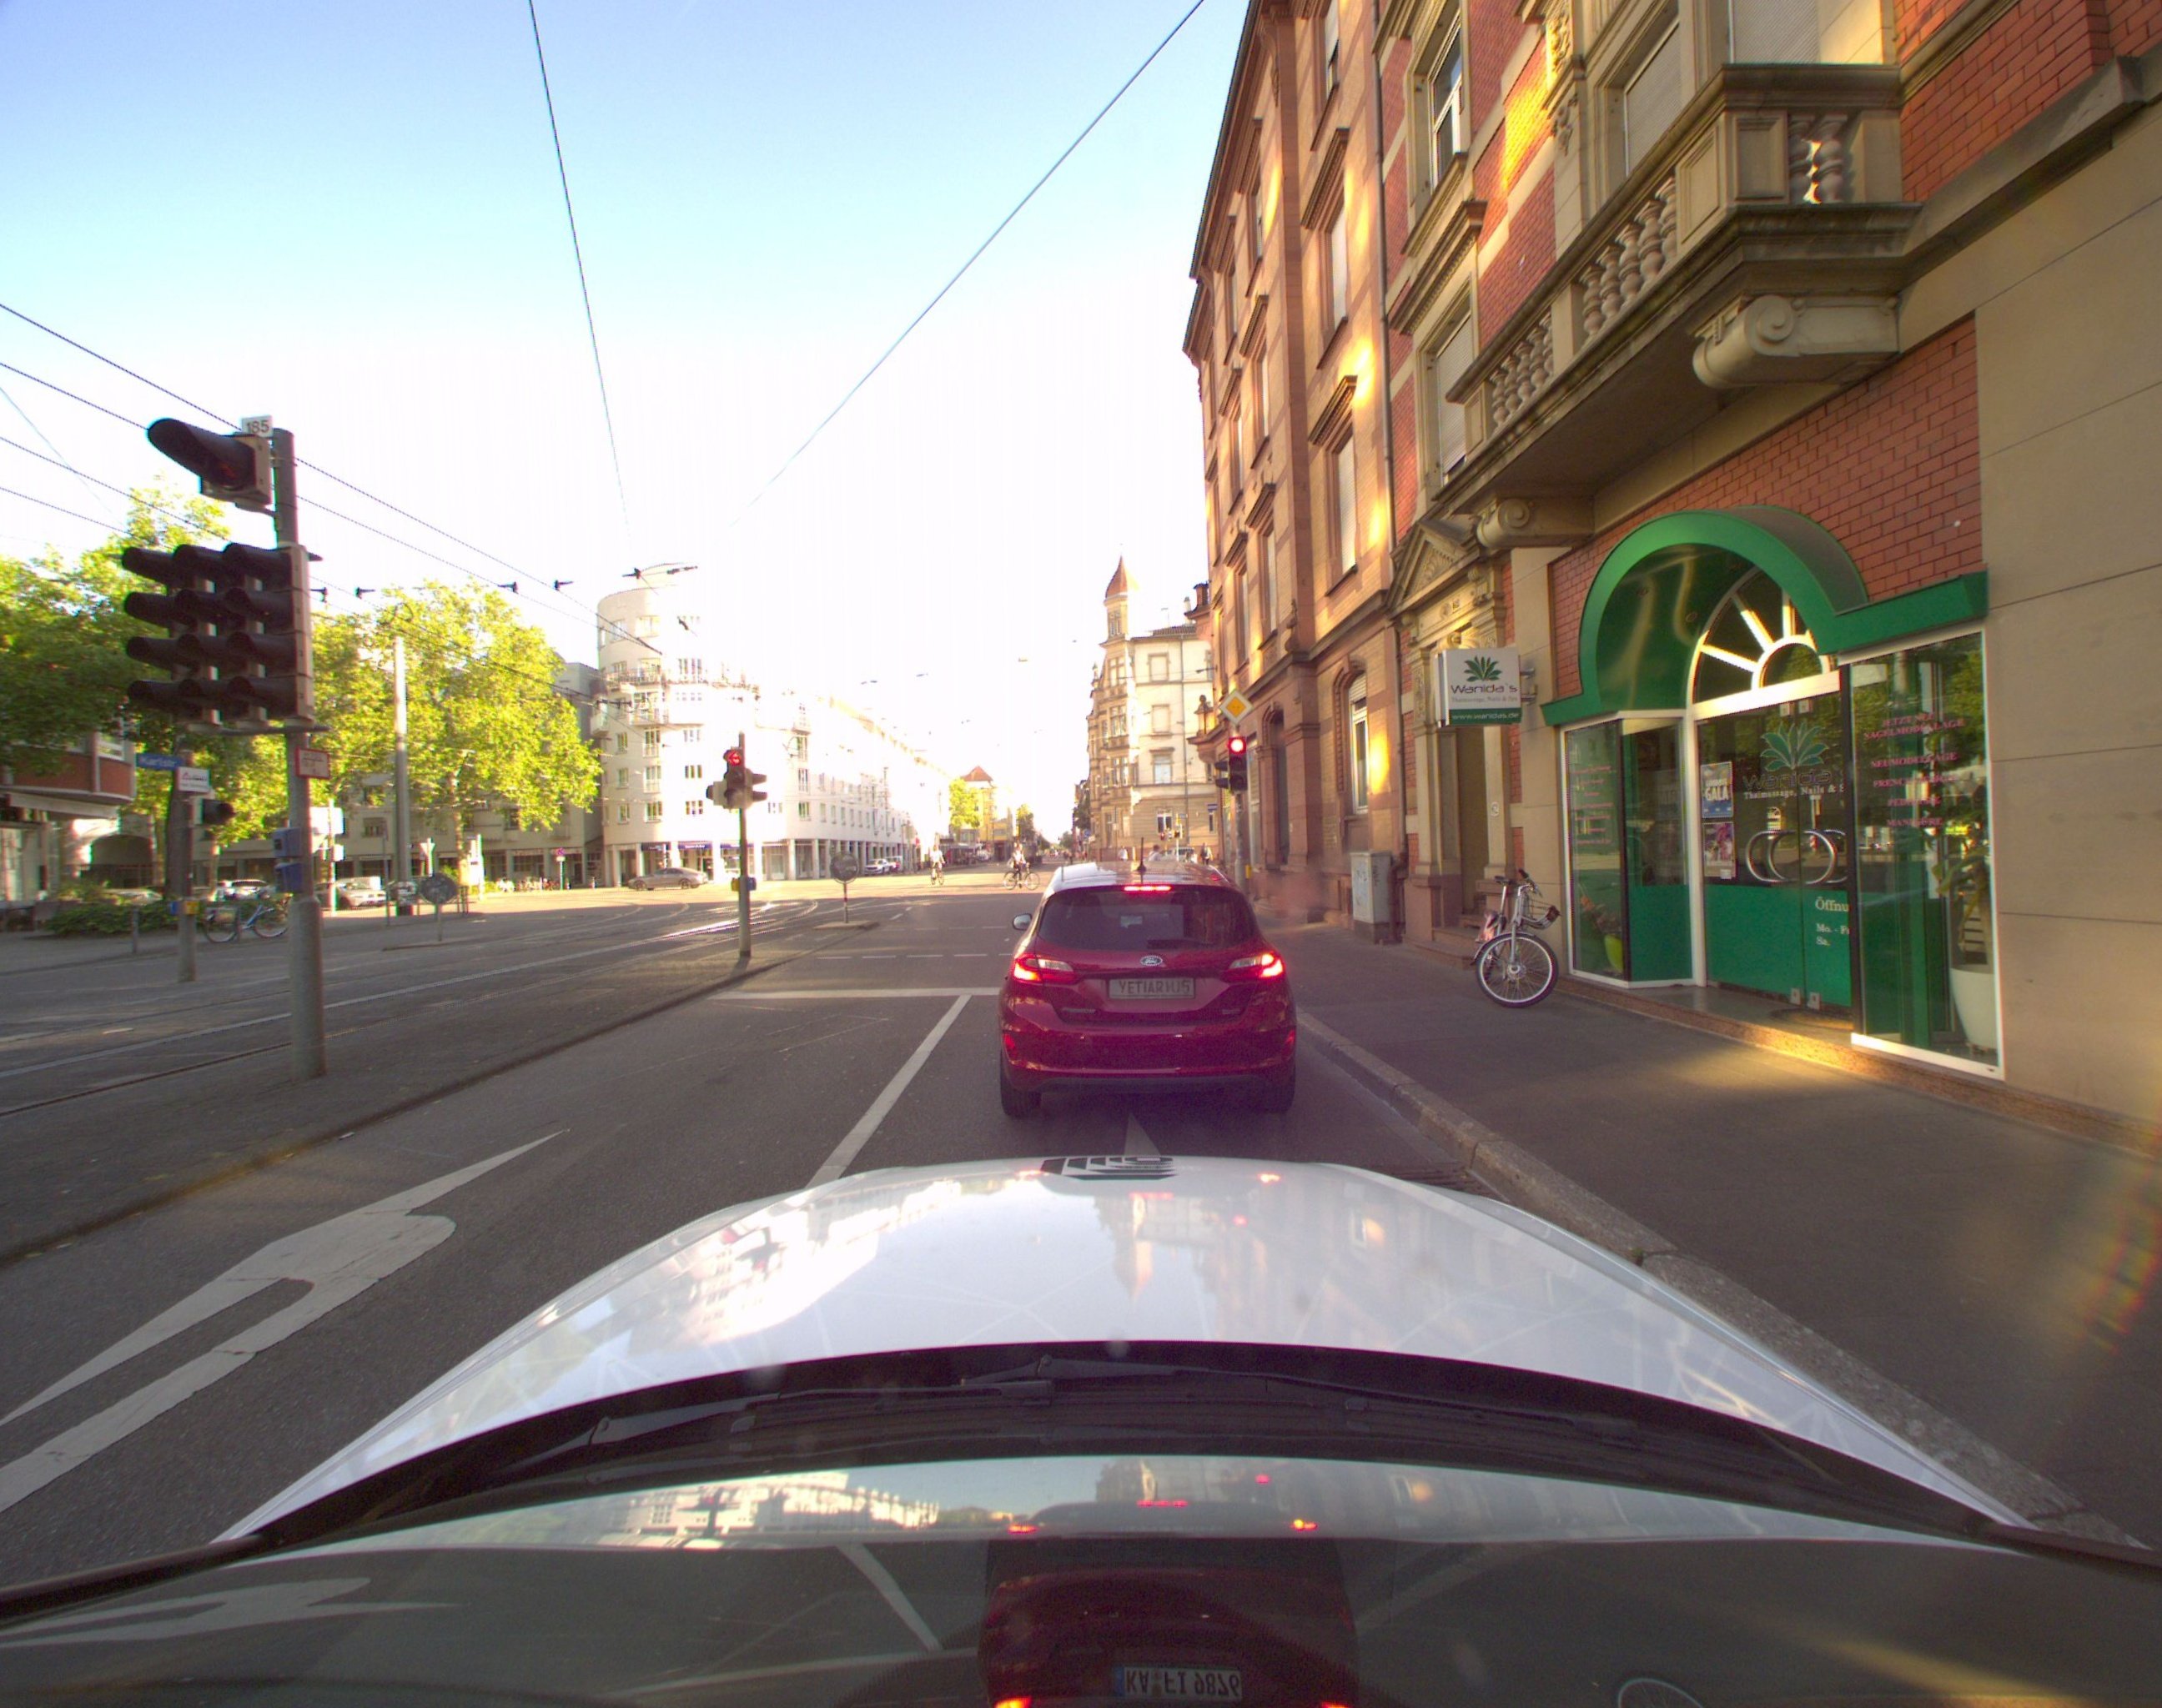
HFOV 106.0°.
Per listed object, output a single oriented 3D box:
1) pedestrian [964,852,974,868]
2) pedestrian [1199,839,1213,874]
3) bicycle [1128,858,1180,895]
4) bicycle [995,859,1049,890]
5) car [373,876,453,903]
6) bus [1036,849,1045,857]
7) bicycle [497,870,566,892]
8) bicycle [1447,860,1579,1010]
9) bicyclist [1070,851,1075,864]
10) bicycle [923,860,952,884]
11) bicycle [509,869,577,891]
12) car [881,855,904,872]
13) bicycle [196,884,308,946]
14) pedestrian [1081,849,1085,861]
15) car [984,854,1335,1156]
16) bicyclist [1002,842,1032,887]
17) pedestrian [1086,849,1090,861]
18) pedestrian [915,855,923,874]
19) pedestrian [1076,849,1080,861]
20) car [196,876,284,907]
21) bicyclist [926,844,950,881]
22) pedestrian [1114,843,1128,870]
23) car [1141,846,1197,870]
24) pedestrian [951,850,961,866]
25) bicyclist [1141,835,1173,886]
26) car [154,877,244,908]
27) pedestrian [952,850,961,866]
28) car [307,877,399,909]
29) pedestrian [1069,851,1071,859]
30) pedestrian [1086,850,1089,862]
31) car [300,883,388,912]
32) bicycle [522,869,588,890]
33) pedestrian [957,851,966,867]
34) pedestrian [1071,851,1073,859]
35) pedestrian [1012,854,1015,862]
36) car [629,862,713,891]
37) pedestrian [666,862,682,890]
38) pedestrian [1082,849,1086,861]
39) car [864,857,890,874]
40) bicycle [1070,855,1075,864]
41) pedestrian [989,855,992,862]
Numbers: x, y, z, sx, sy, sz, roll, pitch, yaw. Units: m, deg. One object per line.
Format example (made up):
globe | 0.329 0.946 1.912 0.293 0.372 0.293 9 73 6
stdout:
pedestrian | -14.246 0.739 103.633 1.043 2.013 0.958 -2 0 -3
pedestrian | 6.470 0.138 42.241 0.558 1.755 0.650 -3 0 1
bicycle | 2.400 0.714 26.528 0.620 1.177 2.037 -1 -1 41
bicycle | -2.340 0.810 32.222 2.023 1.147 0.815 -2 0 34
car | -44.180 2.354 53.917 3.969 1.531 1.618 -2 0 4
bus | -10.717 -0.364 217.469 1.919 2.013 7.137 -2 0 1
bicycle | -43.009 2.098 63.733 4.685 1.530 1.067 -2 0 2
bicycle | 3.875 0.675 7.439 0.710 1.152 1.662 -4 0 17
bicyclist | -1.103 0.422 102.777 0.498 1.676 0.545 -2 0 0
bicycle | -7.389 0.926 41.766 0.813 1.147 1.991 -2 0 -30
bicycle | -42.847 2.079 64.871 4.685 1.530 1.067 -2 0 2
car | -20.377 1.051 88.063 1.696 1.718 3.562 -2 0 -1
bicycle | -19.750 1.419 19.462 0.668 1.327 1.907 1 0 2
pedestrian | 0.294 0.193 137.790 0.574 2.013 0.632 -2 0 5
car | 0.315 0.742 6.034 1.750 1.466 3.941 -1 0 -3
bicyclist | -2.555 0.414 32.353 0.784 1.726 0.815 -2 0 34
pedestrian | 1.117 0.157 134.704 0.574 2.013 0.632 -2 0 5
pedestrian | -14.797 0.925 74.225 0.521 1.681 0.487 -2 0 6
pedestrian | -0.546 0.218 137.710 0.574 2.013 0.632 -2 0 5
car | -60.406 2.645 58.596 1.986 1.964 4.001 -2 0 1
bicyclist | -7.318 0.428 41.650 0.813 1.821 0.984 -2 0 -30
pedestrian | 3.070 0.190 62.234 0.656 2.013 0.751 -2 0 -37
car | 6.309 0.265 58.199 3.874 1.549 1.458 -2 0 8
pedestrian | -15.547 0.513 101.159 0.953 2.013 1.048 -2 0 -1
bicyclist | 2.489 0.204 26.665 0.756 1.627 0.736 -1 -1 41
car | -63.324 2.739 58.579 1.986 1.964 4.001 -2 0 1
pedestrian | -15.818 0.505 103.577 1.043 2.013 0.958 -2 0 -3
car | -40.242 2.150 45.033 3.978 1.559 1.636 -2 0 11
pedestrian | -2.775 0.318 204.187 0.575 1.887 0.669 -2 0 -1
pedestrian | 0.973 0.307 123.350 0.412 1.680 0.485 -2 0 1
car | -36.920 2.181 40.801 3.968 1.295 1.781 -2 0 24
bicycle | -42.852 2.088 66.423 4.685 1.530 1.067 -2 0 2
pedestrian | -15.433 0.655 105.340 1.043 2.013 0.958 -2 0 -3
pedestrian | -2.206 0.240 200.884 0.575 1.887 0.630 -2 0 -1
pedestrian | -13.380 0.753 161.288 0.522 1.488 0.583 -2 0 1
car | -26.043 1.401 51.864 4.445 1.641 1.698 -2 0 -11
pedestrian | -29.810 1.590 59.642 0.949 2.013 0.931 -2 0 -29
pedestrian | 0.443 0.178 133.158 0.574 2.013 0.632 -2 0 5
car | -20.159 1.128 80.565 1.696 1.546 3.460 -2 0 0
bicycle | -1.095 0.711 102.917 0.524 1.089 1.487 -2 0 1
pedestrian | -18.181 0.857 163.567 0.579 1.488 0.525 -2 0 -3
